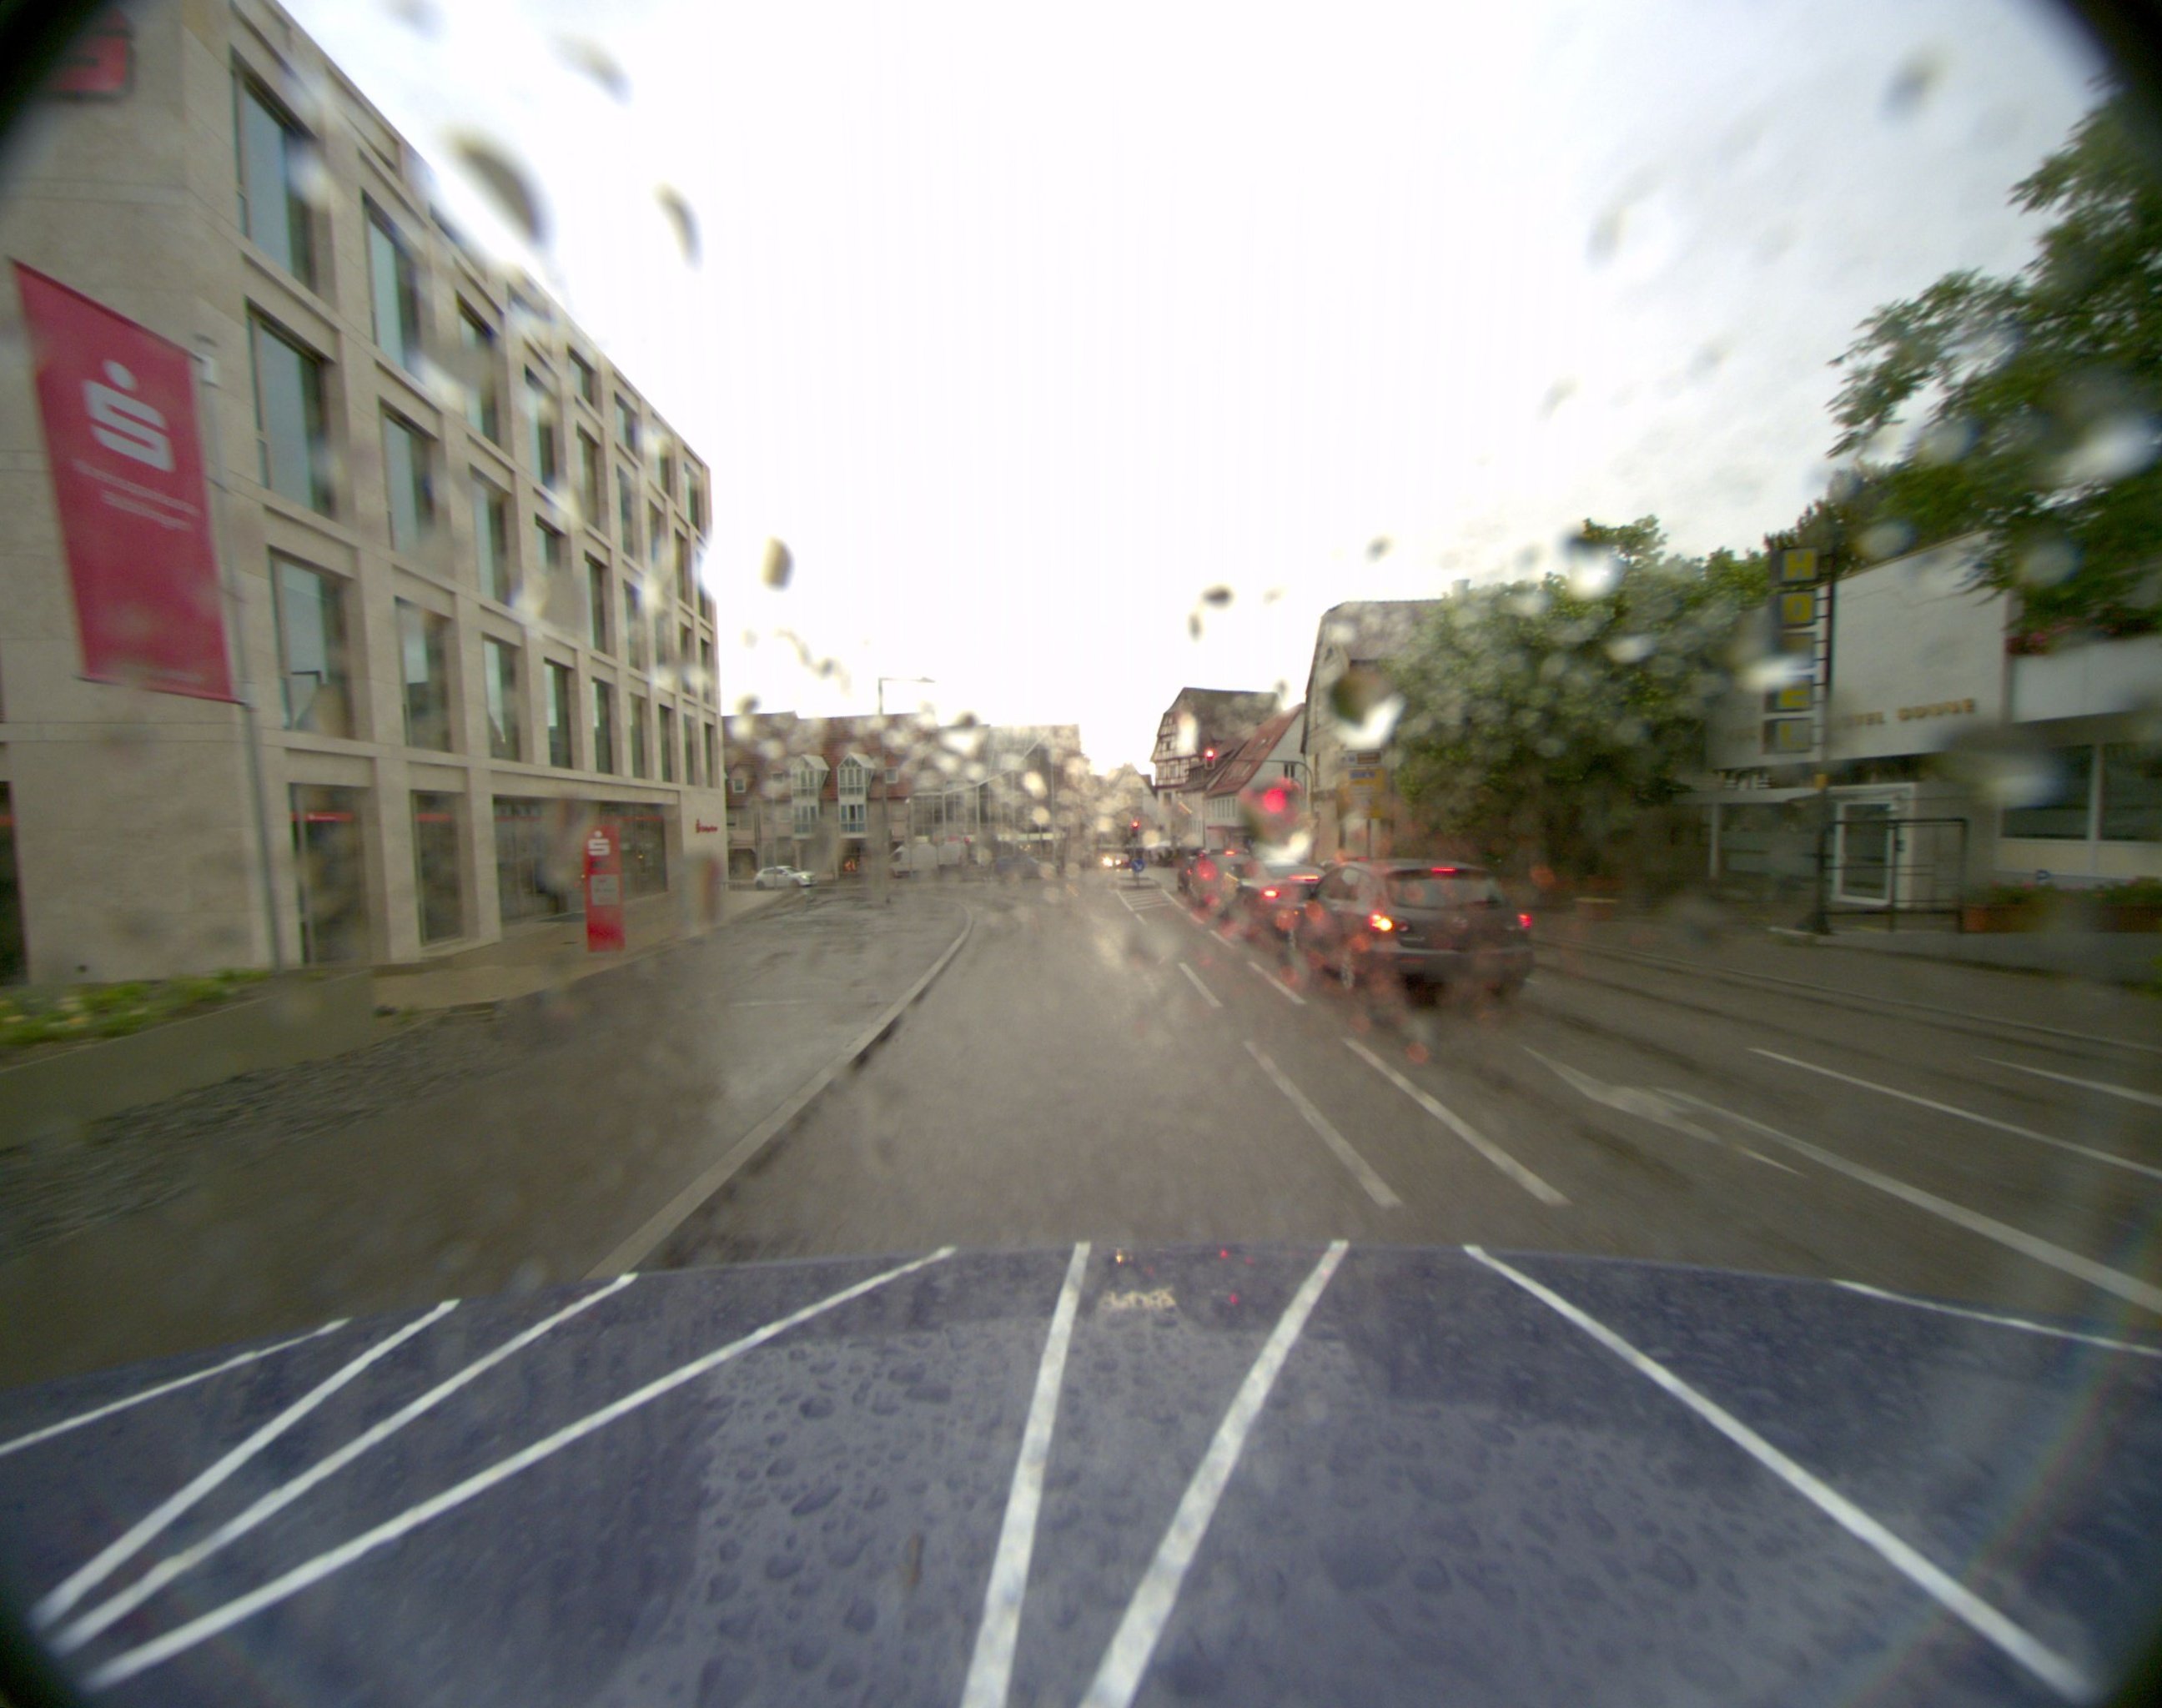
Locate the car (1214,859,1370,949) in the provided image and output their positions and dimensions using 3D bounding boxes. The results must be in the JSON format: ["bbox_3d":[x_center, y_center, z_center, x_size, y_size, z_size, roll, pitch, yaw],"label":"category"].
[{"bbox_3d":[3.982,0.862,15.247,1.945,1.432,5.017,-1,0,3],"label":"car"}]

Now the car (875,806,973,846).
[{"bbox_3d":[-11.269,-1.974,54.700,6.505,2.673,2.001,-1,1,7],"label":"car"}]

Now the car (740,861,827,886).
[{"bbox_3d":[-19.762,1.317,50.508,5.024,1.536,2.002,-1,0,11],"label":"car"}]

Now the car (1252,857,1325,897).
[{"bbox_3d":[7.603,0.800,28.191,1.852,1.286,4.033,-1,0,4],"label":"car"}]

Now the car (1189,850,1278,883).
[{"bbox_3d":[9.183,0.733,46.146,5.028,1.834,2.000,-1,0,2],"label":"car"}]

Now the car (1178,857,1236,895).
[{"bbox_3d":[4.844,0.816,29.629,1.817,1.356,3.748,-1,0,3],"label":"car"}]

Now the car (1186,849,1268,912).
[{"bbox_3d":[4.212,0.702,22.516,1.852,1.654,4.220,-1,0,4],"label":"car"}]

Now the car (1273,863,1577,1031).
[{"bbox_3d":[3.704,0.881,9.238,1.803,1.431,4.690,-1,0,3],"label":"car"}]

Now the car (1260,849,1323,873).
[{"bbox_3d":[14.335,0.451,51.940,3.994,1.533,2.001,-1,0,9],"label":"car"}]

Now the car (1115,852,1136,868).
[{"bbox_3d":[4.273,0.561,73.312,1.727,1.538,3.999,-1,0,-1],"label":"car"}]

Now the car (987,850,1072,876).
[{"bbox_3d":[-3.208,0.541,48.115,5.026,1.536,2.001,-1,0,8],"label":"car"}]

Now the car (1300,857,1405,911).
[{"bbox_3d":[7.728,0.809,22.030,1.741,1.346,4.060,-1,0,3],"label":"car"}]
